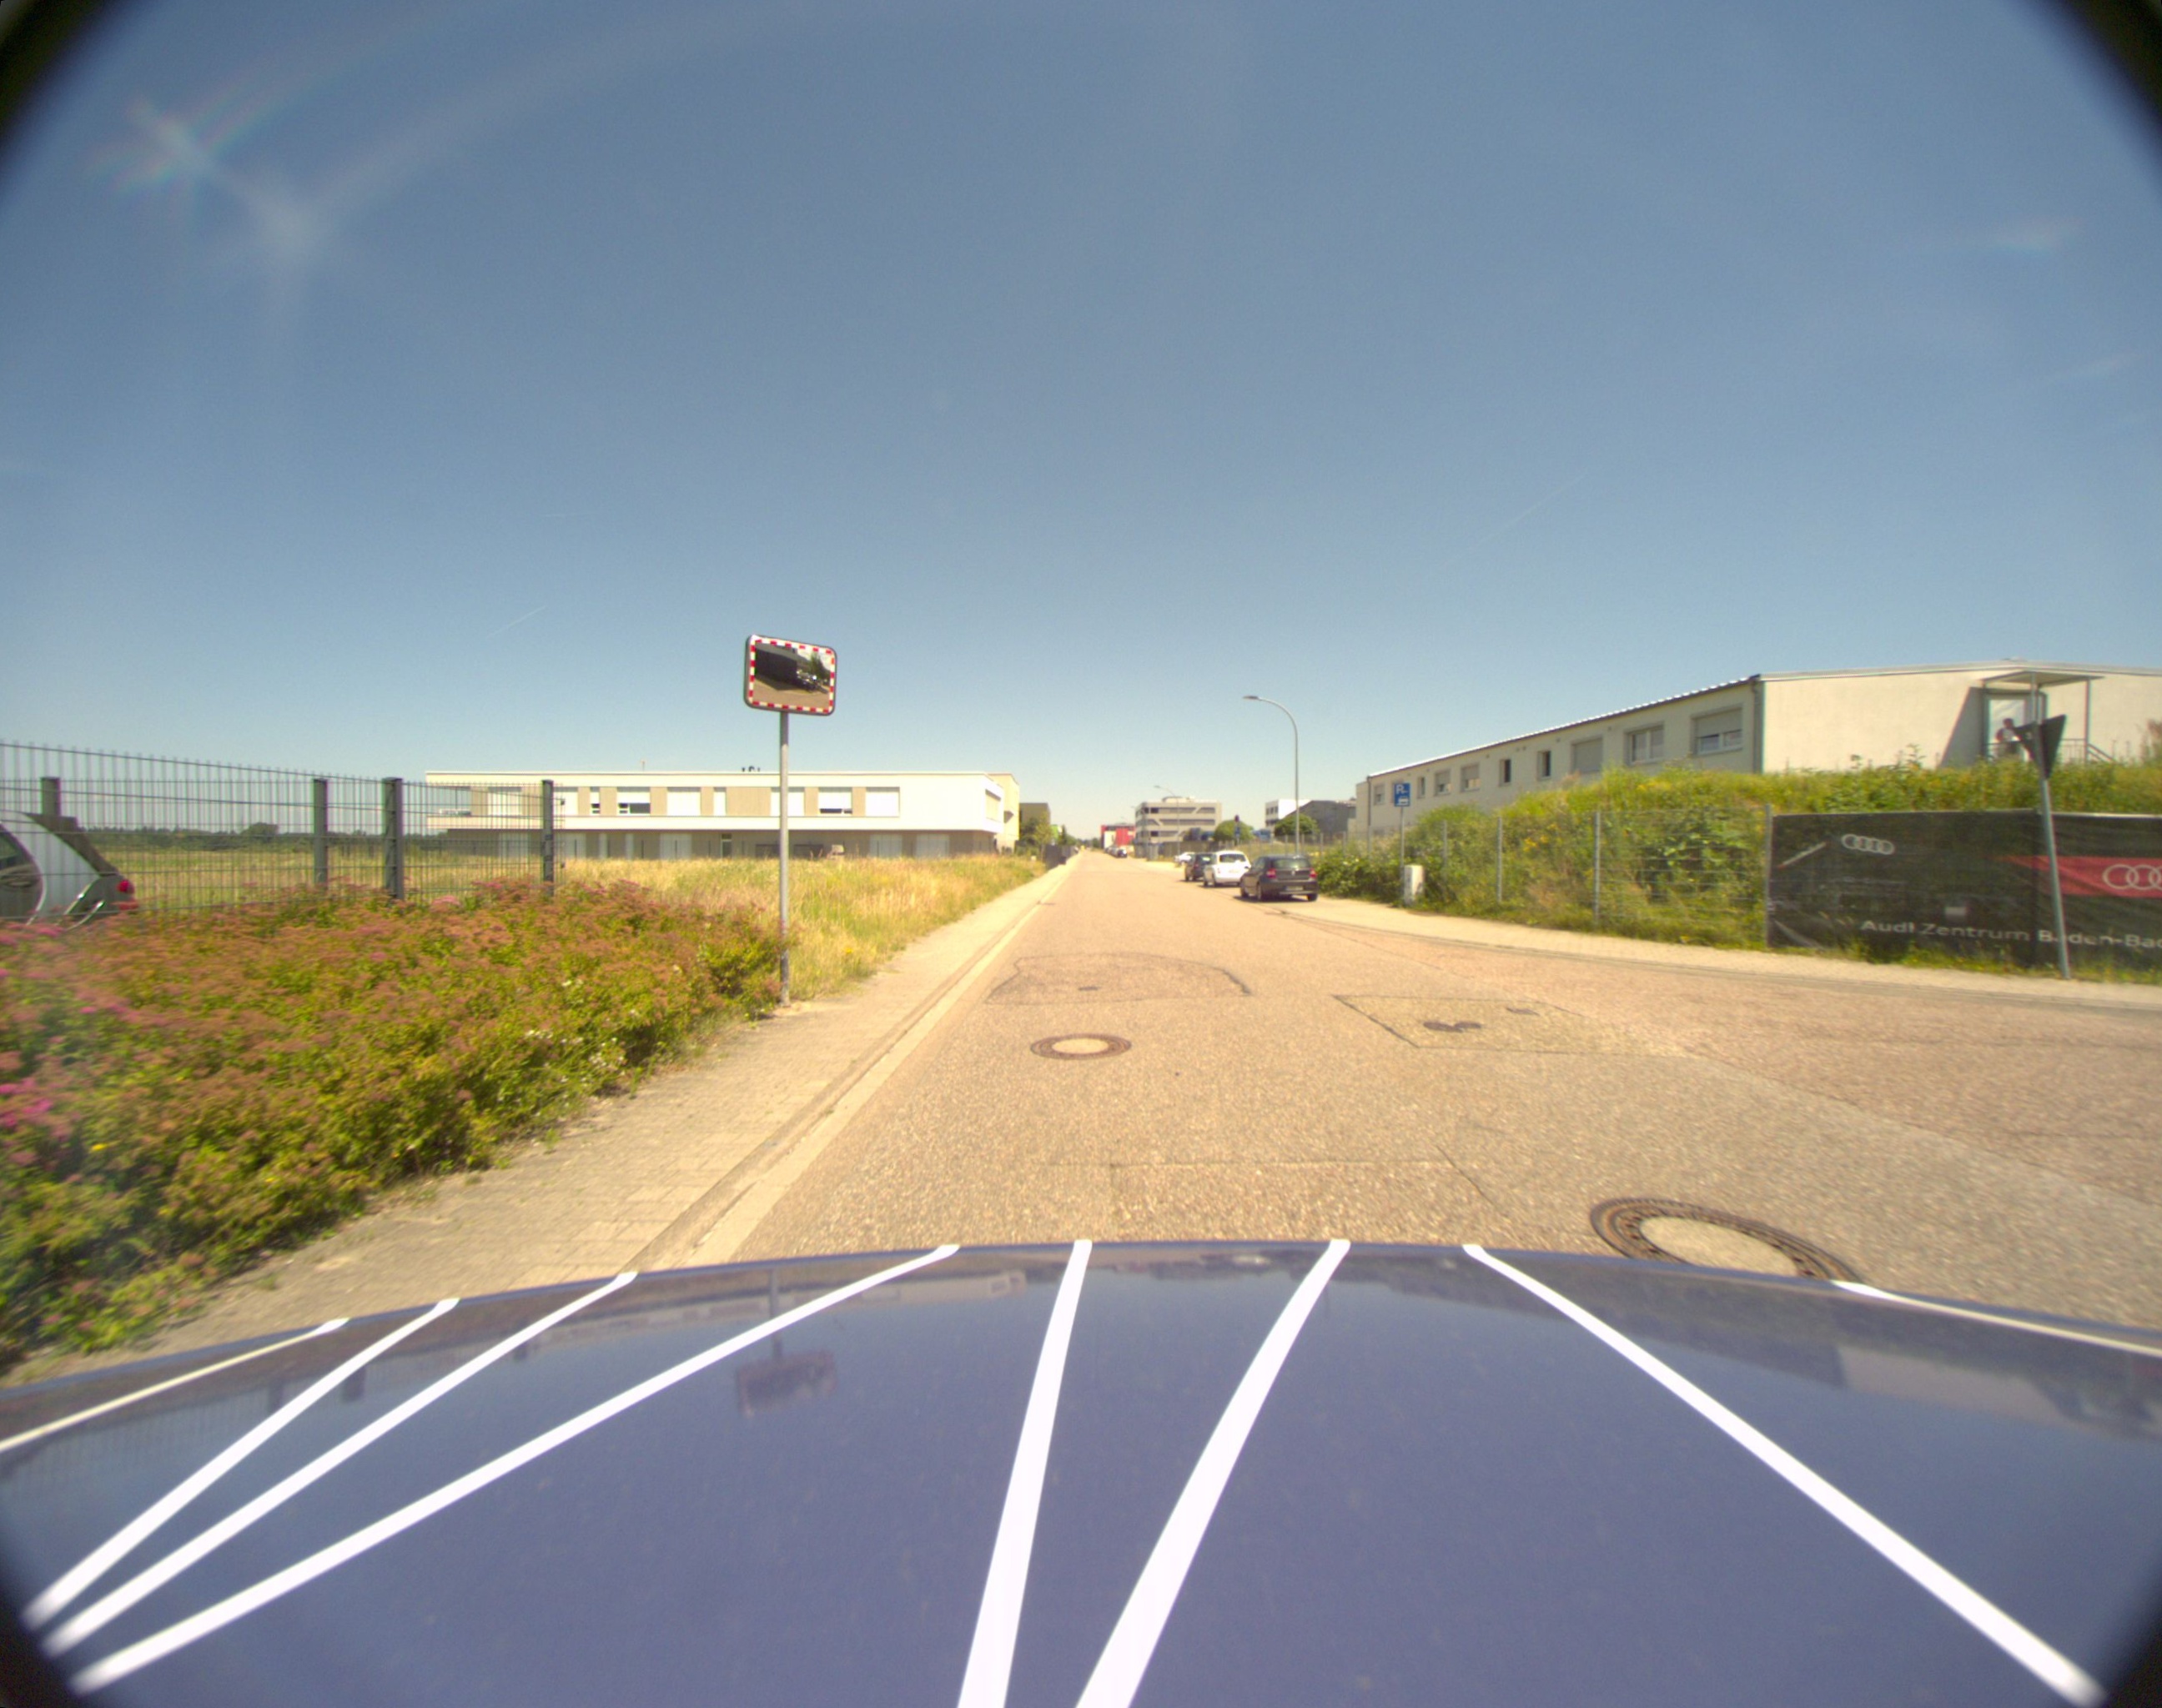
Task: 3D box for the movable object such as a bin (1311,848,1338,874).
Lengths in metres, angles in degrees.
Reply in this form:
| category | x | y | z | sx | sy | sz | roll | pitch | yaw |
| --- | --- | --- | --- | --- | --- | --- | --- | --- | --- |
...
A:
| category | x | y | z | sx | sy | sz | roll | pitch | yaw |
| --- | --- | --- | --- | --- | --- | --- | --- | --- | --- |
| movable object such as a bin | 13.417 | 0.382 | 41.896 | 1.145 | 1.397 | 1.388 | -1 | 2 | 3 |

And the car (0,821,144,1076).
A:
| category | x | y | z | sx | sy | sz | roll | pitch | yaw |
| --- | --- | --- | --- | --- | --- | --- | --- | --- | --- |
| car | -7.371 | 0.590 | 4.019 | 1.470 | 1.565 | 2.661 | 0 | 2 | 1 |

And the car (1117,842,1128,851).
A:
| category | x | y | z | sx | sy | sz | roll | pitch | yaw |
| --- | --- | --- | --- | --- | --- | --- | --- | --- | --- |
| car | 7.291 | -1.290 | 134.550 | 1.695 | 1.482 | 3.660 | -2 | 1 | 1 |

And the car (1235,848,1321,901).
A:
| category | x | y | z | sx | sy | sz | roll | pitch | yaw |
| --- | --- | --- | --- | --- | --- | --- | --- | --- | --- |
| car | 6.070 | 0.561 | 23.829 | 1.678 | 1.442 | 4.068 | 0 | 1 | 0 |

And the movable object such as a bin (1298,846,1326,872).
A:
| category | x | y | z | sx | sy | sz | roll | pitch | yaw |
| --- | --- | --- | --- | --- | --- | --- | --- | --- | --- |
| movable object such as a bin | 13.267 | 0.256 | 43.708 | 1.090 | 1.440 | 1.388 | -1 | 2 | -4 |

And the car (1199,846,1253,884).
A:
| category | x | y | z | sx | sy | sz | roll | pitch | yaw |
| --- | --- | --- | --- | --- | --- | --- | --- | --- | --- |
| car | 6.233 | 0.435 | 33.090 | 1.678 | 1.521 | 3.756 | 0 | 1 | 0 |

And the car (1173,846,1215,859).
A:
| category | x | y | z | sx | sy | sz | roll | pitch | yaw |
| --- | --- | --- | --- | --- | --- | --- | --- | --- | --- |
| car | 12.142 | -0.144 | 81.517 | 4.257 | 1.372 | 1.862 | 0 | 1 | 2 |

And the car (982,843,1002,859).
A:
| category | x | y | z | sx | sy | sz | roll | pitch | yaw |
| --- | --- | --- | --- | --- | --- | --- | --- | --- | --- |
| car | -8.873 | -0.259 | 75.861 | 1.673 | 1.548 | 4.077 | 0 | 0 | -2 |

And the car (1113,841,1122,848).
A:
| category | x | y | z | sx | sy | sz | roll | pitch | yaw |
| --- | --- | --- | --- | --- | --- | --- | --- | --- | --- |
| car | 8.102 | -2.178 | 170.125 | 1.772 | 1.521 | 3.777 | -2 | 1 | 1 |

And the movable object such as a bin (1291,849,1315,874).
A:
| category | x | y | z | sx | sy | sz | roll | pitch | yaw |
| --- | --- | --- | --- | --- | --- | --- | --- | --- | --- |
| movable object such as a bin | 13.217 | 0.414 | 45.297 | 1.127 | 1.440 | 1.371 | -1 | 2 | 3 |

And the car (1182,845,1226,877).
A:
| category | x | y | z | sx | sy | sz | roll | pitch | yaw |
| --- | --- | --- | --- | --- | --- | --- | --- | --- | --- |
| car | 6.351 | 0.330 | 39.478 | 1.678 | 1.521 | 3.908 | -1 | 1 | 0 |

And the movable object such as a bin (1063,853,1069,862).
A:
| category | x | y | z | sx | sy | sz | roll | pitch | yaw |
| --- | --- | --- | --- | --- | --- | --- | --- | --- | --- |
| movable object such as a bin | -1.721 | 0.382 | 87.276 | 0.749 | 1.042 | 0.698 | 1 | 2 | 1 |
